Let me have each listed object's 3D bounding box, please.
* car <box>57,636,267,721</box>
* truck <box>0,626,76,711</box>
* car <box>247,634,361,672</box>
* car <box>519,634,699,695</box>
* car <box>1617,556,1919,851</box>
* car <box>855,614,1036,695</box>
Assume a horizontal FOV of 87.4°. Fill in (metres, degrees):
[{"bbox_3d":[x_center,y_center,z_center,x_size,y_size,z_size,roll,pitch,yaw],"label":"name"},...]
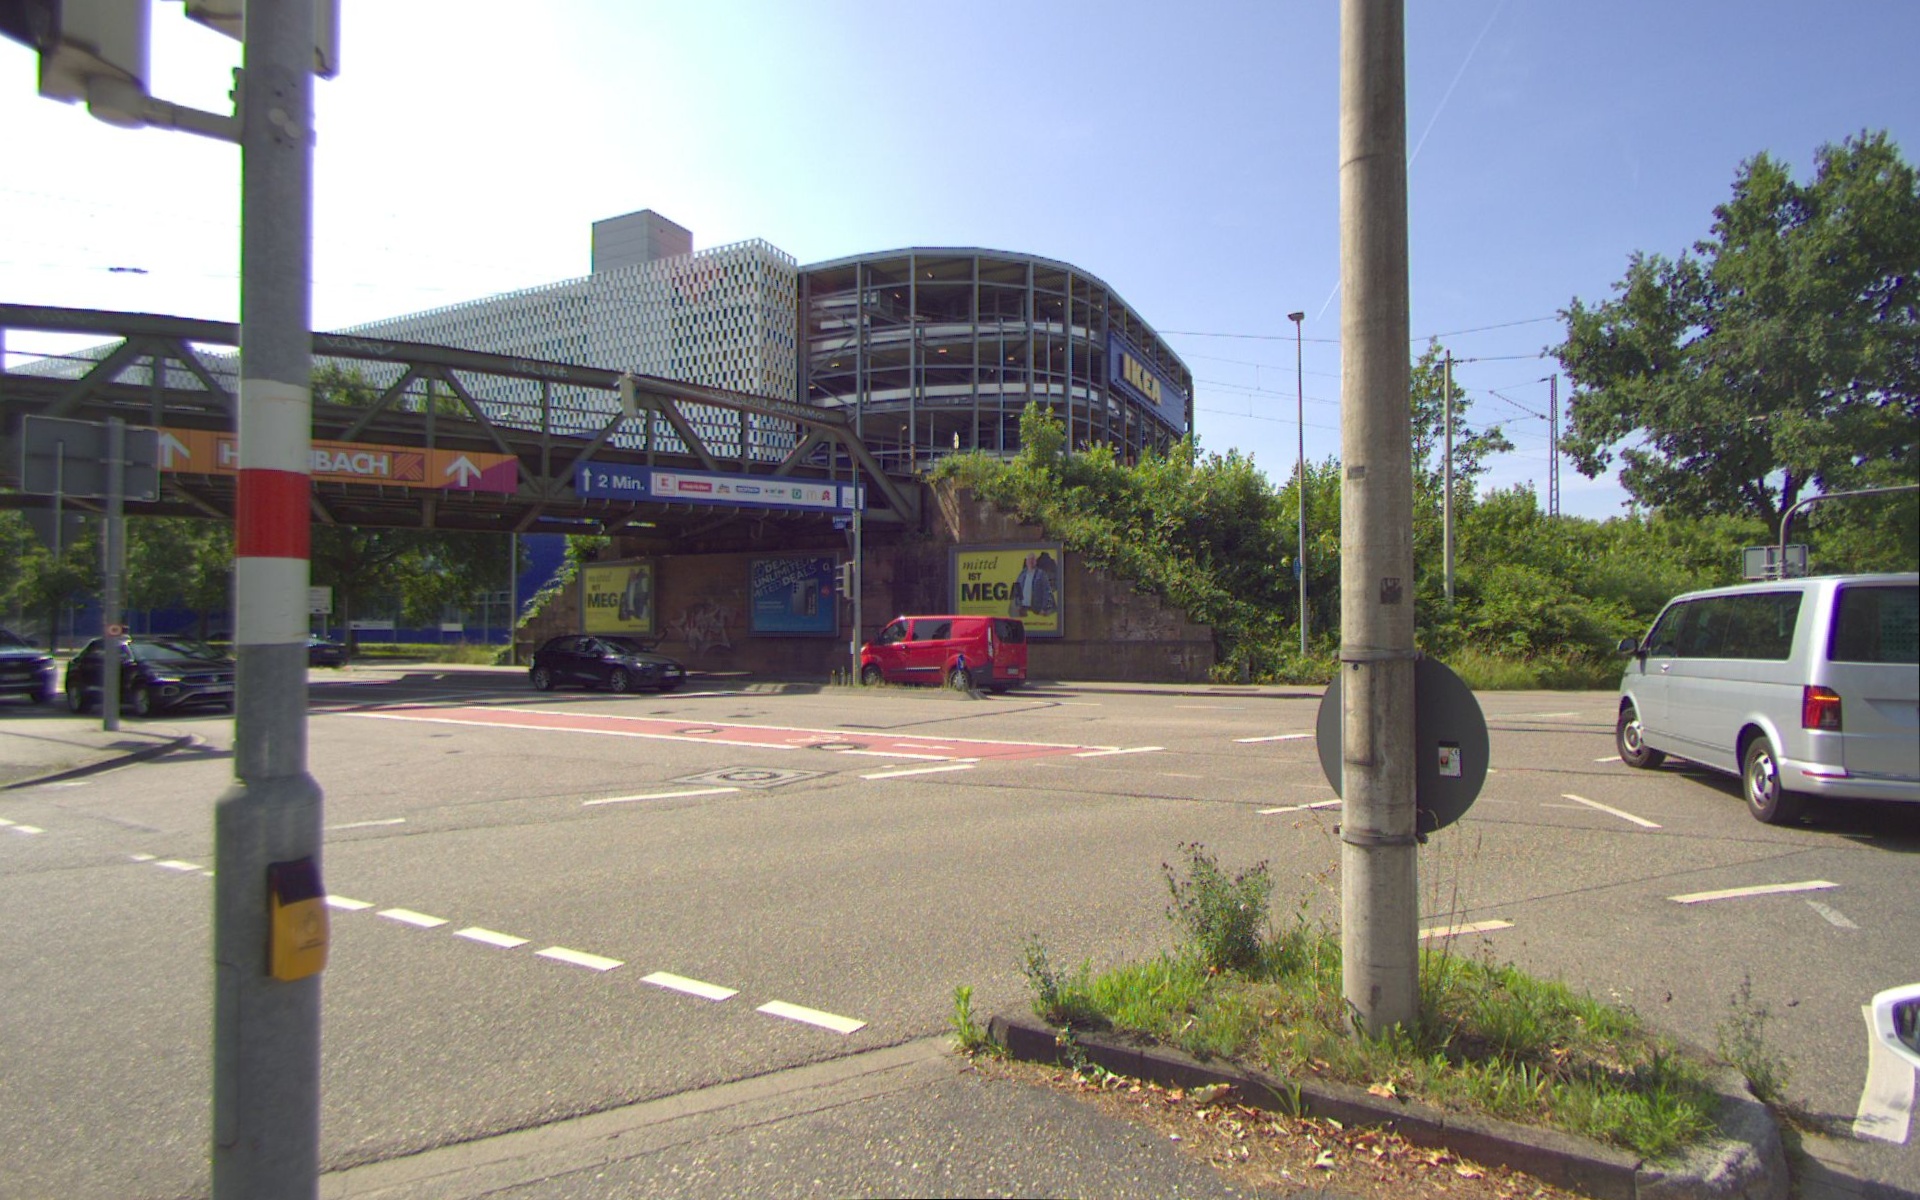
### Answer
[{"bbox_3d":[-16.119,1.520,20.297,3.870,1.500,1.821,-1,0,26],"label":"car"},{"bbox_3d":[-23.487,1.569,23.733,5.226,1.844,2.030,-1,0,26],"label":"truck"},{"bbox_3d":[-25.874,2.059,39.639,4.243,1.415,1.791,-1,-2,25],"label":"car"},{"bbox_3d":[-8.823,1.574,25.204,4.253,1.413,1.770,-1,-2,25],"label":"car"},{"bbox_3d":[7.689,0.770,9.065,1.910,1.997,5.021,0,-1,21],"label":"car"},{"bbox_3d":[-0.415,1.390,26.459,4.486,1.950,1.968,-1,-2,35],"label":"car"}]
